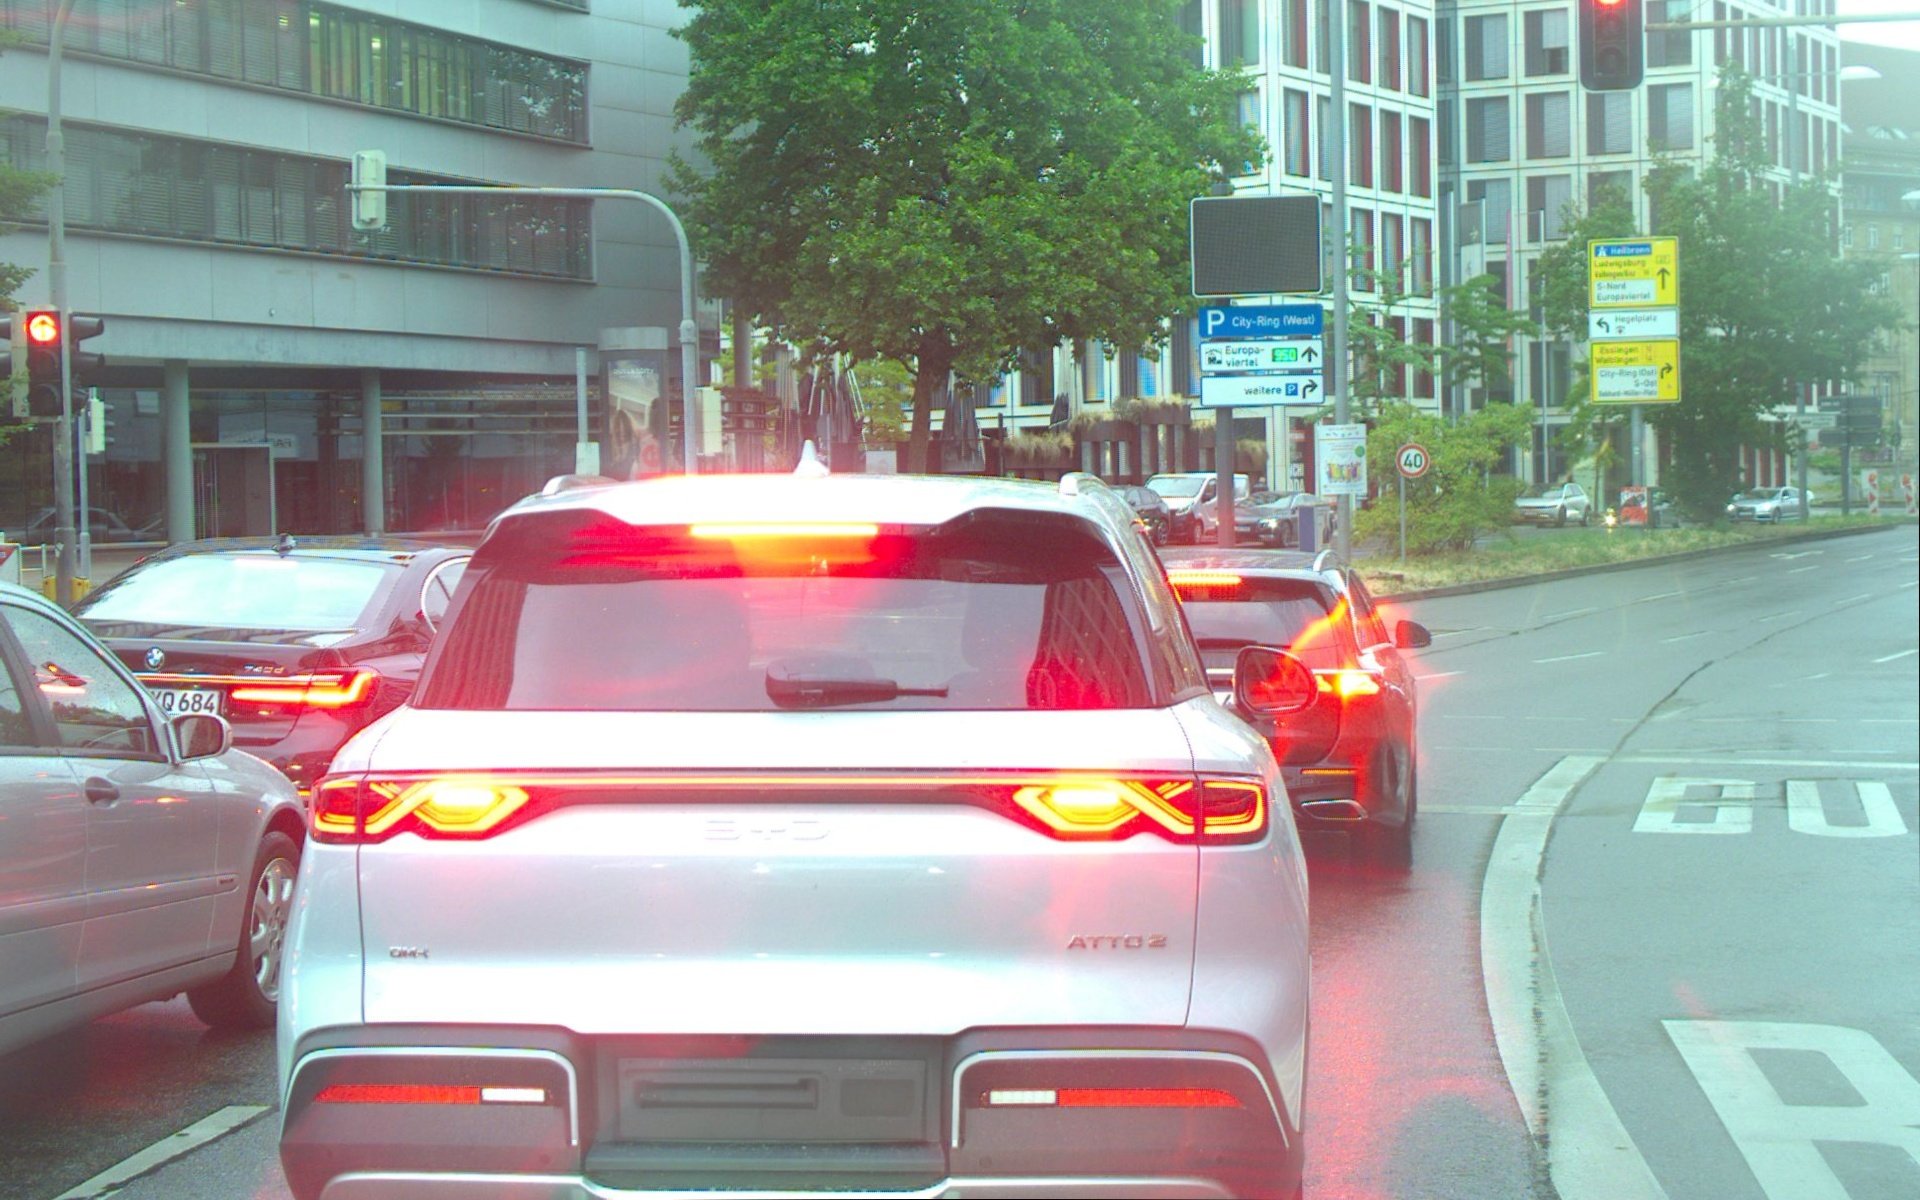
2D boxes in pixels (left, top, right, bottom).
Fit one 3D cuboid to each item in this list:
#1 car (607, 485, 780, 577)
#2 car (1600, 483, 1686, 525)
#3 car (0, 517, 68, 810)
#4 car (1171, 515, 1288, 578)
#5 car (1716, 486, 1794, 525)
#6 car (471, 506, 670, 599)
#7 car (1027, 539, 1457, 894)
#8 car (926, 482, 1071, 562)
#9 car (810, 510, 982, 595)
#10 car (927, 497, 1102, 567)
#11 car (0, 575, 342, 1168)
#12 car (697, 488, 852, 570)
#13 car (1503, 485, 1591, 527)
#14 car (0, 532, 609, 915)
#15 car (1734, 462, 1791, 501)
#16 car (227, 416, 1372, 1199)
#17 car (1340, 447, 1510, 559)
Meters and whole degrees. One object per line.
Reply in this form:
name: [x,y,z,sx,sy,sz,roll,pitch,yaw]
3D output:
car: [-4.571,-1.195,59.515,1.645,1.530,4.149,1,1,16]
car: [24.416,-3.440,122.865,1.996,1.483,3.994,0,2,27]
car: [-5.872,0.320,16.285,1.707,1.481,3.998,1,1,9]
car: [7.048,-1.417,89.466,1.633,1.553,4.588,0,2,23]
car: [30.724,-3.650,132.774,1.996,1.483,3.994,0,2,27]
car: [-6.962,-0.881,61.834,1.995,1.605,3.996,1,1,20]
car: [1.478,0.474,16.648,1.694,1.481,3.998,1,1,10]
car: [0.820,-1.598,70.484,1.645,1.575,4.081,1,1,21]
car: [-1.059,-0.804,58.787,1.692,1.380,3.865,1,1,19]
car: [1.305,-1.588,79.072,1.816,1.505,5.188,1,2,28]
car: [-2.996,0.644,8.901,1.571,1.402,4.108,1,1,7]
car: [-3.678,-1.400,68.804,1.640,1.565,3.714,1,1,23]
car: [20.985,-3.364,122.852,1.996,1.483,3.994,0,2,27]
car: [-2.793,0.463,15.509,1.571,1.481,3.999,1,1,6]
car: [38.164,-5.608,163.406,1.609,1.735,3.439,1,1,32]
car: [-0.205,0.539,7.361,1.776,1.673,4.000,1,1,2]
car: [8.854,-1.811,65.141,1.996,2.007,4.843,1,1,23]
